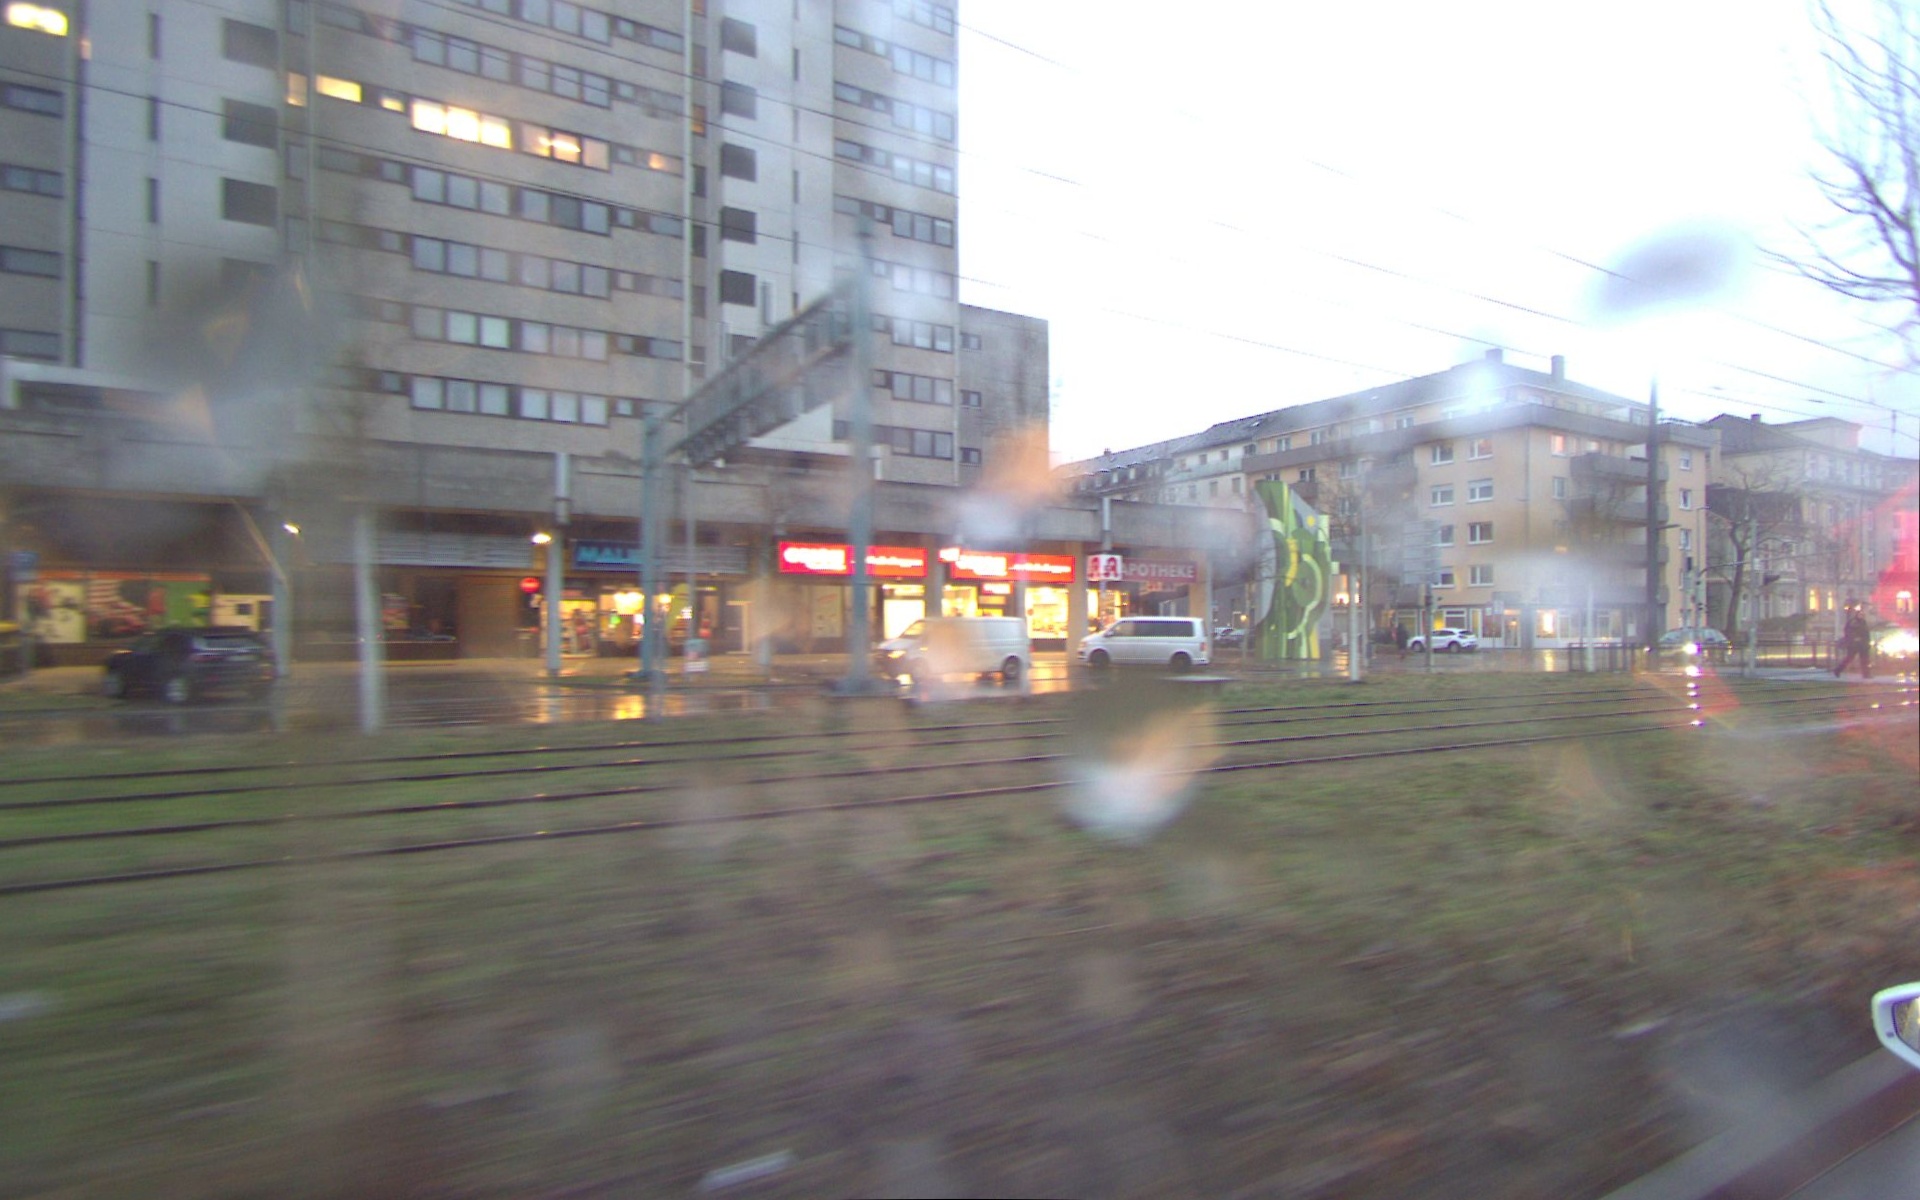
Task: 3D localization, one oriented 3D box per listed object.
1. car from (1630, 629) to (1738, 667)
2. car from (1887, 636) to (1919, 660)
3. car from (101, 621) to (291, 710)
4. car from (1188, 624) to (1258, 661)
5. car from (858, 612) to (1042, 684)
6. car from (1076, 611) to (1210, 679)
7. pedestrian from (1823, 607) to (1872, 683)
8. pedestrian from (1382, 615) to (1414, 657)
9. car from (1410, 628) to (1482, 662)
[{"bbox_3d":[28.402,1.877,39.377,4.264,1.350,1.850,1,0,-30],"label":"car"},{"bbox_3d":[53.116,2.644,55.747,4.108,1.294,1.679,1,-1,-36],"label":"car"},{"bbox_3d":[-17.581,1.430,23.093,4.067,1.716,1.982,2,0,29],"label":"car"},{"bbox_3d":[15.696,2.529,59.978,3.829,2.040,1.884,1,0,-30],"label":"car"},{"bbox_3d":[-0.282,1.489,31.828,5.490,2.073,1.987,1,0,-25],"label":"car"},{"bbox_3d":[6.857,1.636,37.465,4.734,2.274,2.001,2,0,15],"label":"car"},{"bbox_3d":[24.745,1.239,28.000,0.993,2.040,0.956,-1,-1,43],"label":"pedestrian"},{"bbox_3d":[21.754,1.760,49.850,1.253,2.040,1.004,-1,-1,37],"label":"pedestrian"},{"bbox_3d":[31.157,2.842,64.410,1.825,1.968,3.720,1,0,-37],"label":"car"}]
